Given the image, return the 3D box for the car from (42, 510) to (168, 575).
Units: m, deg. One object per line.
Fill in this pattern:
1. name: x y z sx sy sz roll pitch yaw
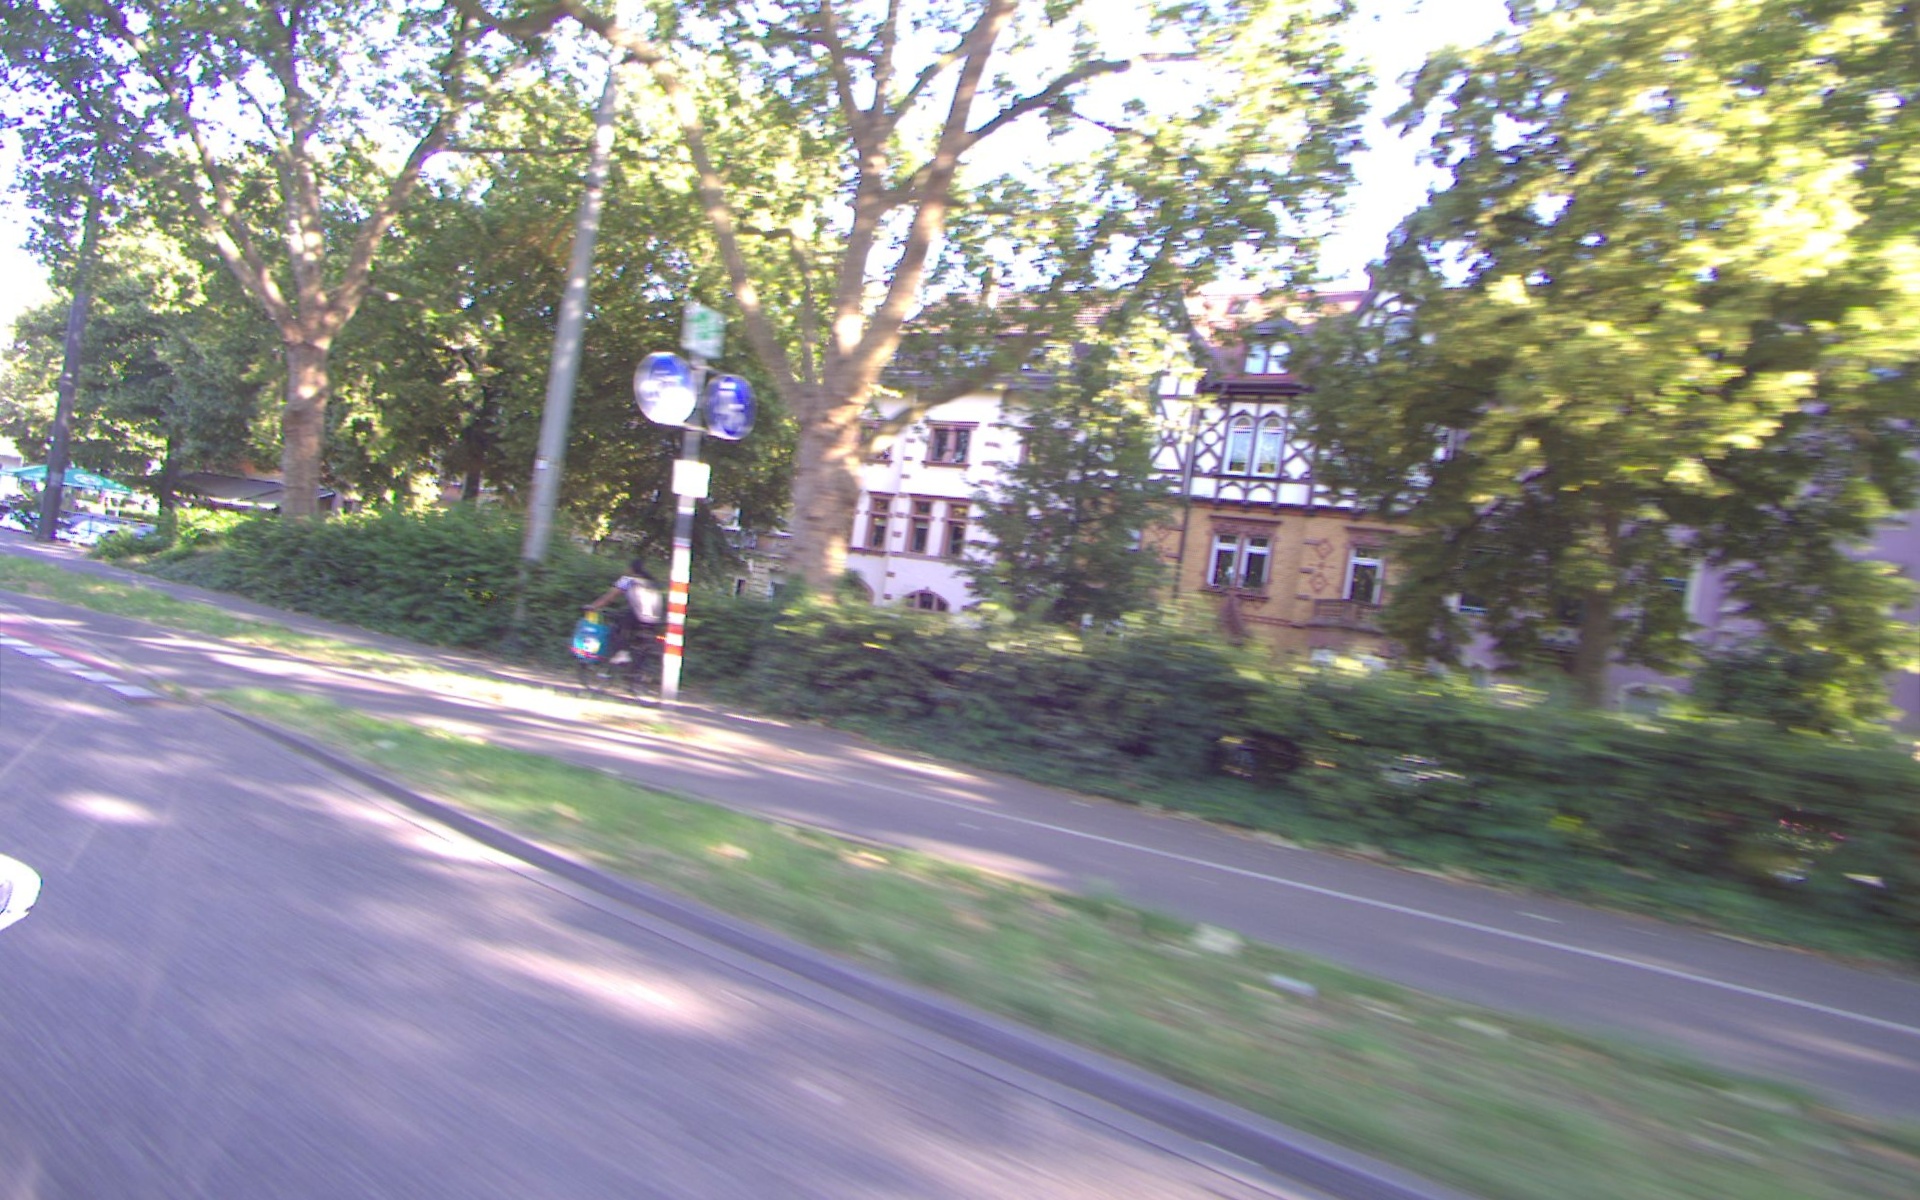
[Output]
1. car: -28.901 -1.971 33.975 4.477 1.596 1.798 7 -2 31

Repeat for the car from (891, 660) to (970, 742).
1. car: -0.738 2.619 26.928 1.767 1.529 3.998 9 0 -1

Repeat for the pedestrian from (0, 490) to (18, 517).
1. pedestrian: -52.730 -5.324 55.632 0.621 1.352 0.650 8 -3 32

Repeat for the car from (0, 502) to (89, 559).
1. car: -34.018 -2.600 36.869 4.368 1.596 1.798 7 -2 31

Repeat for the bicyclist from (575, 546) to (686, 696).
1. bicyclist: -3.624 0.242 11.074 0.639 1.532 0.767 8 1 31

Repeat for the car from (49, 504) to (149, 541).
1. car: -43.680 -3.906 51.152 1.748 1.364 3.995 8 0 -5

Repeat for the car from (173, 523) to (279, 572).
1. car: -31.838 -2.241 43.791 1.769 1.756 3.995 8 0 -6

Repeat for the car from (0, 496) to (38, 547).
1. car: -39.146 -3.331 40.177 4.135 1.823 1.801 7 -2 24

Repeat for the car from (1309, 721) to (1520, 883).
1. car: 8.759 3.828 19.914 1.960 2.039 4.463 8 0 2

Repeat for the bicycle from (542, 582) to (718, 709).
1. bicycle: -3.647 0.488 11.084 1.770 1.121 0.767 8 1 31

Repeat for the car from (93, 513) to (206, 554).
1. car: -38.308 -3.102 47.703 1.929 1.423 4.246 9 0 -3

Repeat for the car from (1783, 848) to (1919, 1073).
1. car: 11.045 3.956 9.979 4.031 1.833 1.908 8 -2 32
